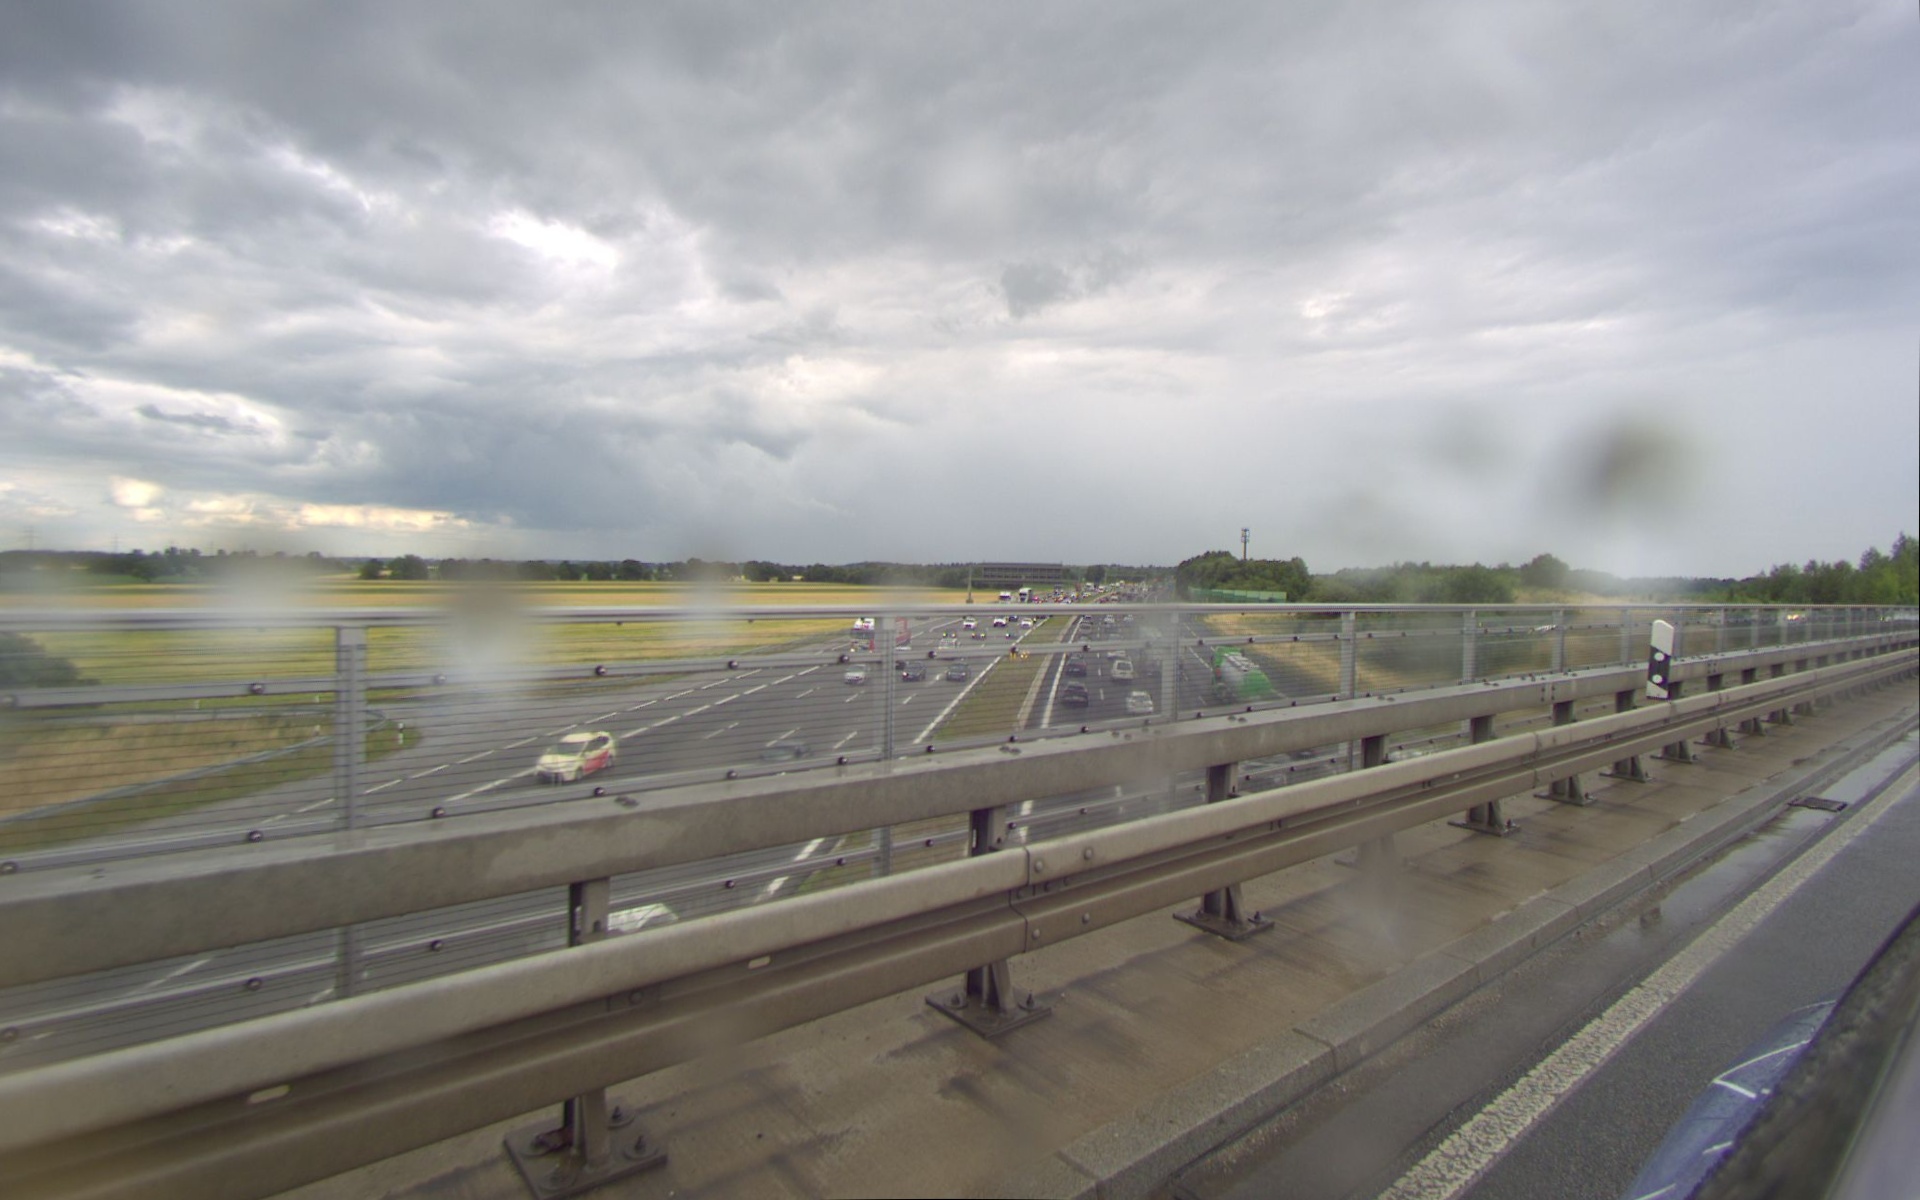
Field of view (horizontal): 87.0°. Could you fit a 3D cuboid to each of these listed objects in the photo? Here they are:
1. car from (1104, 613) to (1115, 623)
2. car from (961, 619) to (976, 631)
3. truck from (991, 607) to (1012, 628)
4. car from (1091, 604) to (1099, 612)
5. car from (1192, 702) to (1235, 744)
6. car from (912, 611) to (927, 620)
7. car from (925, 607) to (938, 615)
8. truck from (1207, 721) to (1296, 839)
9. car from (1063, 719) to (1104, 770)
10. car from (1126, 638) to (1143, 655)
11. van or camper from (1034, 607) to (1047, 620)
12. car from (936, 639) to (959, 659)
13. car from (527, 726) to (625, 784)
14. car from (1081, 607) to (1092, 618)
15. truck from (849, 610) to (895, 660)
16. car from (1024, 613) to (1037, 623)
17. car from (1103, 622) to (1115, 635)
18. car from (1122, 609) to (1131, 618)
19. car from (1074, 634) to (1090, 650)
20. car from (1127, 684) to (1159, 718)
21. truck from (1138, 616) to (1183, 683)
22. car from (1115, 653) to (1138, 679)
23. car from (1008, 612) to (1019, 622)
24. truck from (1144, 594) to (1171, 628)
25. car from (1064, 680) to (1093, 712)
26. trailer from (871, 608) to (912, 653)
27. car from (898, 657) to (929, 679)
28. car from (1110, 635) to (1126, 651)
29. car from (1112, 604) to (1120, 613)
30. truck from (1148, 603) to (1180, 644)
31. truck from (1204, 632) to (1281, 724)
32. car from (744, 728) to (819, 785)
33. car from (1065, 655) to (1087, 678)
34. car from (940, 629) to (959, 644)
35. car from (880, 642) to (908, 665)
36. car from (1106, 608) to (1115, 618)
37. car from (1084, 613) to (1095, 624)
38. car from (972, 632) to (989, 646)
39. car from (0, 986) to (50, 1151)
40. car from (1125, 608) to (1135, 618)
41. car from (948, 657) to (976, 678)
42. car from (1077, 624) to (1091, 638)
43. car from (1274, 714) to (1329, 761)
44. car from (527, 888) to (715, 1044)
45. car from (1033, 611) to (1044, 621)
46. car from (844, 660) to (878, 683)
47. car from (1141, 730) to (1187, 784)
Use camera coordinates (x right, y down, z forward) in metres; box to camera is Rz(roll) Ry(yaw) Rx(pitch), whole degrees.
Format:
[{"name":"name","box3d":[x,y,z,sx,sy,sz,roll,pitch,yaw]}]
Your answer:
[{"name":"car","box3d":[27.073,3.268,183.464,1.826,1.797,4.713,0,1,9]},{"name":"car","box3d":[1.339,3.827,156.878,1.784,1.690,4.714,0,1,8]},{"name":"truck","box3d":[6.946,2.867,167.778,2.553,3.219,8.375,0,1,9]},{"name":"car","box3d":[31.959,1.899,239.464,1.826,1.797,4.713,0,1,9]},{"name":"car","box3d":[14.111,6.814,56.513,1.826,1.690,4.713,0,1,9]},{"name":"car","box3d":[-7.160,2.674,179.559,1.784,1.454,4.715,0,1,7]},{"name":"car","box3d":[-5.480,2.129,192.348,1.784,1.454,4.715,0,1,7]},{"name":"truck","box3d":[11.572,7.000,40.899,2.175,3.003,9.286,0,1,8]},{"name":"car","box3d":[5.953,6.827,48.279,1.826,1.690,4.713,0,1,9]},{"name":"car","box3d":[20.233,5.377,117.471,1.826,1.797,4.713,0,1,9]},{"name":"van or camper","box3d":[16.243,2.655,203.773,2.025,2.481,7.313,0,1,8]},{"name":"car","box3d":[-1.317,5.077,105.628,1.784,1.870,4.715,0,0,7]},{"name":"car","box3d":[-16.354,6.566,43.372,1.785,1.690,4.710,0,1,10]},{"name":"car","box3d":[25.277,2.468,201.909,1.965,2.039,3.994,-3,0,6]},{"name":"truck","box3d":[-8.965,3.532,104.113,2.641,4.684,9.732,0,0,8]},{"name":"car","box3d":[12.690,3.188,181.817,1.826,1.690,4.713,0,1,9]},{"name":"car","box3d":[22.878,4.323,155.241,1.826,1.797,4.713,0,1,9]},{"name":"car","box3d":[34.529,2.752,209.617,1.826,1.797,4.713,0,1,9]},{"name":"car","box3d":[14.976,5.124,124.223,1.826,1.797,4.713,0,1,9]},{"name":"car","box3d":[11.915,6.577,66.102,1.826,1.690,4.713,0,1,9]},{"name":"truck","box3d":[19.180,4.478,97.528,3.241,5.511,15.596,0,1,8]},{"name":"car","box3d":[13.966,5.552,85.277,1.826,1.797,4.713,0,1,8]},{"name":"car","box3d":[9.940,3.068,187.901,1.784,1.690,4.714,0,1,8]},{"name":"truck","box3d":[33.259,1.696,170.896,3.434,5.419,15.596,0,1,8]},{"name":"car","box3d":[8.131,6.570,69.431,1.826,1.690,4.713,0,1,9]},{"name":"trailer","box3d":[-7.632,3.345,113.824,2.641,4.687,9.887,0,0,8]},{"name":"car","box3d":[-3.897,5.673,85.184,1.784,1.454,4.715,0,1,7]},{"name":"car","box3d":[19.480,5.277,124.907,1.826,1.797,4.713,0,1,9]},{"name":"car","box3d":[35.437,1.955,230.345,1.826,1.797,4.713,0,1,9]},{"name":"truck","box3d":[29.603,3.217,147.381,3.434,5.419,15.596,0,1,8]},{"name":"truck","box3d":[20.037,5.273,72.887,3.241,5.229,15.596,0,1,8]},{"name":"car","box3d":[-7.722,6.799,44.333,1.785,1.690,4.712,0,1,9]},{"name":"car","box3d":[10.325,5.848,89.752,1.826,1.690,4.713,0,1,9]},{"name":"car","box3d":[-1.372,4.700,131.044,1.784,1.690,4.714,0,1,8]},{"name":"car","box3d":[-6.114,4.938,93.970,1.784,1.907,4.715,0,0,7]},{"name":"car","box3d":[30.273,2.585,203.784,1.826,1.797,4.713,0,1,9]},{"name":"car","box3d":[22.808,3.279,177.825,1.826,1.797,4.713,0,1,9]},{"name":"car","box3d":[2.760,5.263,136.355,1.784,1.690,4.714,0,1,8]},{"name":"car","box3d":[-16.196,7.572,14.042,1.964,2.248,5.551,0,0,3]},{"name":"car","box3d":[31.840,2.429,189.672,1.826,1.797,4.713,0,1,9]},{"name":"car","box3d":[0.220,5.781,86.725,1.784,1.454,4.715,0,1,7]},{"name":"car","box3d":[16.990,4.242,138.554,1.826,1.797,4.713,0,1,9]},{"name":"car","box3d":[17.266,6.934,51.367,1.826,1.690,4.713,0,1,9]},{"name":"car","box3d":[-7.090,7.676,21.763,1.785,1.504,4.710,0,1,11]},{"name":"car","box3d":[15.735,3.186,202.581,1.826,1.690,4.713,0,1,9]},{"name":"car","box3d":[-7.895,5.734,81.147,1.784,1.454,4.715,0,1,7]},{"name":"car","box3d":[9.420,7.226,47.044,1.826,1.690,4.713,0,1,9]}]
